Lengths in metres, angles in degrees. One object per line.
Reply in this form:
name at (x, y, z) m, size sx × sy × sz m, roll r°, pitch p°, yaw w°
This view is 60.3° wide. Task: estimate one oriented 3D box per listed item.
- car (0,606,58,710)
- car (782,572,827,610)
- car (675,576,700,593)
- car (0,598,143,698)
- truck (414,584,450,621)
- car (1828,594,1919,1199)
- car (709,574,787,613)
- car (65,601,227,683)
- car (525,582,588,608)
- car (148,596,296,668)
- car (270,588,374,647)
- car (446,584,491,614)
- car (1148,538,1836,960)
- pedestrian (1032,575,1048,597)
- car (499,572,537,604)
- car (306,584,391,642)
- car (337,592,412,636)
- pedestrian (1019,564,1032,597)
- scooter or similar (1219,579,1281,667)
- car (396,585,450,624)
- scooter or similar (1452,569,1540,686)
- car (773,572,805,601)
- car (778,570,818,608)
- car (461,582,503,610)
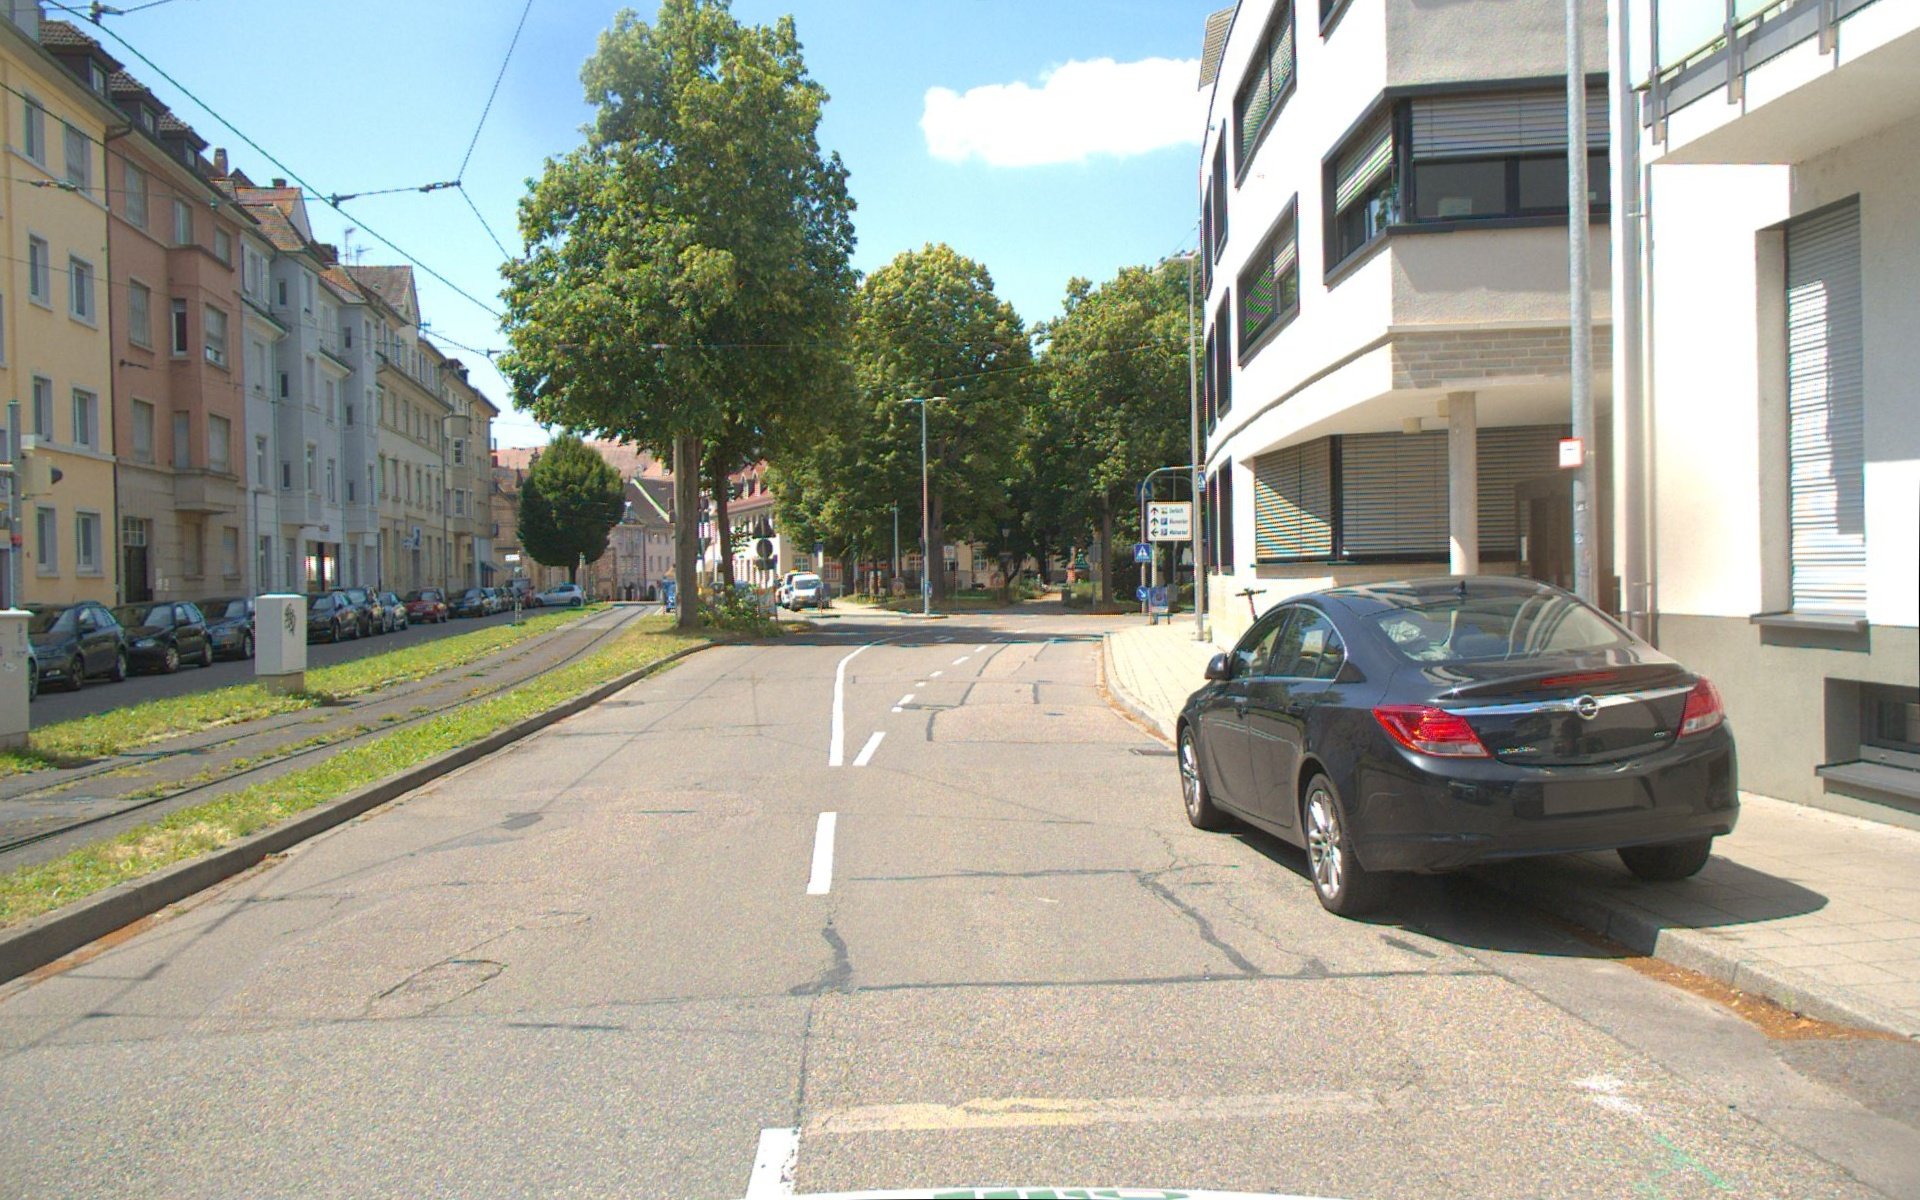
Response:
car at (-14.950, 0.927, 24.063) m, size 1.894 × 1.476 × 4.364 m, roll -4°, pitch 2°, yaw -11°
car at (-8.035, -0.476, 85.065) m, size 1.957 × 1.858 × 4.412 m, roll -1°, pitch 1°, yaw -10°
car at (-24.586, -1.401, 149.212) m, size 1.830 × 1.512 × 3.983 m, roll -1°, pitch 1°, yaw -16°
car at (-16.175, 0.803, 29.321) m, size 1.894 × 1.531 × 4.314 m, roll -3°, pitch 1°, yaw -11°
truck at (-23.578, 0.106, 73.899) m, size 1.106 × 1.520 × 2.588 m, roll -3°, pitch 1°, yaw -10°
car at (3.120, 0.673, 2.317) m, size 1.562 × 1.457 × 3.703 m, roll -5°, pitch 1°, yaw -4°
car at (-8.902, -0.291, 69.198) m, size 1.882 × 1.560 × 4.205 m, roll -1°, pitch 1°, yaw -28°
car at (-16.698, 0.814, 34.136) m, size 1.797 × 1.424 × 4.134 m, roll -3°, pitch 1°, yaw -9°
car at (-27.995, -0.358, 114.847) m, size 4.132 × 1.531 × 1.997 m, roll -3°, pitch 1°, yaw -14°
car at (-17.563, 0.705, 39.615) m, size 1.892 × 1.422 × 4.854 m, roll -3°, pitch 2°, yaw -8°
car at (-19.067, 0.474, 49.626) m, size 1.892 × 1.516 × 4.853 m, roll -3°, pitch 2°, yaw -9°
car at (-25.084, -0.087, 84.567) m, size 1.655 × 1.383 × 3.849 m, roll -3°, pitch 2°, yaw -9°
car at (2.434, 0.582, 8.951) m, size 1.766 × 1.535 × 4.541 m, roll -5°, pitch 1°, yaw -6°
pedestrian at (4.687, -0.830, 97.254) m, size 0.886 × 1.273 × 1.149 m, roll -1°, pitch 2°, yaw 6°
car at (-29.052, -0.813, 108.817) m, size 1.819 × 1.944 × 4.761 m, roll -3°, pitch 2°, yaw -9°
car at (-20.192, 0.391, 54.772) m, size 1.803 × 1.714 × 4.133 m, roll -3°, pitch 2°, yaw -10°
car at (-20.961, 0.469, 59.376) m, size 1.774 × 1.380 × 4.241 m, roll -3°, pitch 2°, yaw -10°
pedestrian at (3.864, -1.158, 97.282) m, size 0.732 × 1.944 × 0.685 m, roll -1°, pitch 2°, yaw 6°
scooter or similar at (4.452, 0.333, 25.433) m, size 0.570 × 1.282 × 1.366 m, roll -3°, pitch 1°, yaw -4°
car at (-22.604, 0.163, 69.725) m, size 1.543 × 1.476 × 3.618 m, roll -3°, pitch 2°, yaw -9°
scooter or similar at (5.865, 0.279, 18.149) m, size 0.414 × 1.232 × 1.313 m, roll -2°, pitch 1°, yaw -6°
car at (-10.440, -0.835, 100.925) m, size 1.750 × 1.652 × 4.478 m, roll -1°, pitch 1°, yaw -8°
car at (-9.196, -0.656, 93.453) m, size 2.011 × 2.037 × 5.240 m, roll -1°, pitch 1°, yaw -8°
car at (-26.029, -0.232, 90.176) m, size 1.655 × 1.414 × 3.849 m, roll -3°, pitch 2°, yaw -9°
